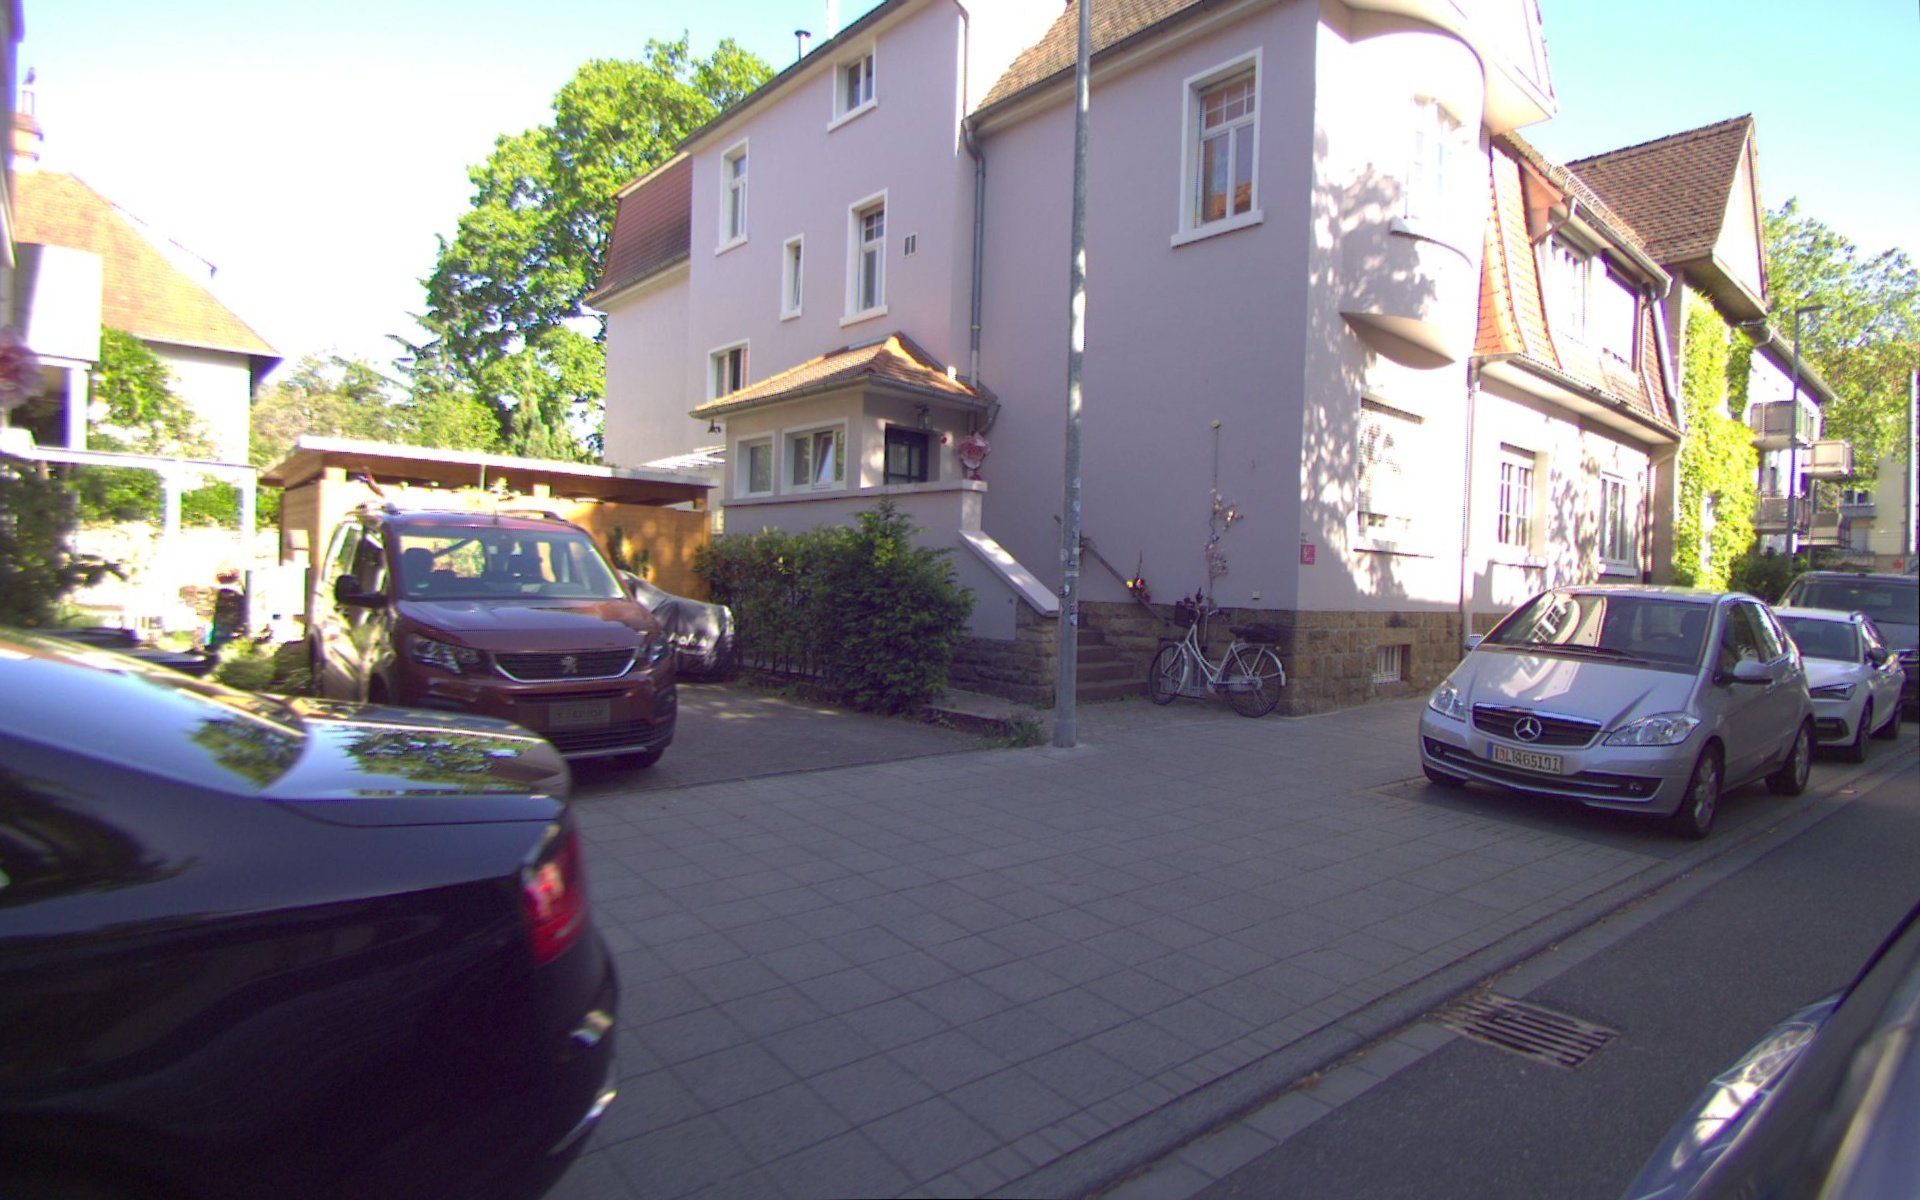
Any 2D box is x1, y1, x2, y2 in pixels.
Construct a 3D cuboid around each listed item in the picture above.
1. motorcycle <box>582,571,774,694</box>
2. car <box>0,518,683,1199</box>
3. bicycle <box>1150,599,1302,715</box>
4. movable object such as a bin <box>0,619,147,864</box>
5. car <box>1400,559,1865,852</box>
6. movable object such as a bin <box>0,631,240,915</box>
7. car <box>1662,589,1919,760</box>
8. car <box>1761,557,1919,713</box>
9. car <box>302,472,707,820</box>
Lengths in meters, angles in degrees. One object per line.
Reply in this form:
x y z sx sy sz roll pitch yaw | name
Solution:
-3.309 0.330 12.074 0.784 1.296 2.140 0 2 37 | motorcycle
-2.858 0.594 1.141 4.524 1.511 1.860 1 3 -39 | car
2.859 0.580 10.999 0.389 1.114 1.639 1 1 -41 | bicycle
-4.292 0.634 4.828 0.607 1.052 0.569 1 2 -42 | movable object such as a bin
5.285 0.564 7.789 3.928 1.619 1.795 -1 5 -39 | car
-3.687 0.692 4.416 0.814 1.052 0.648 1 2 -42 | movable object such as a bin
9.382 0.680 11.202 4.362 1.475 1.681 1 2 -42 | car
13.730 0.452 15.009 4.696 1.939 1.870 1 3 -40 | car
-3.622 0.142 7.574 1.734 1.865 4.149 0 3 -39 | car
